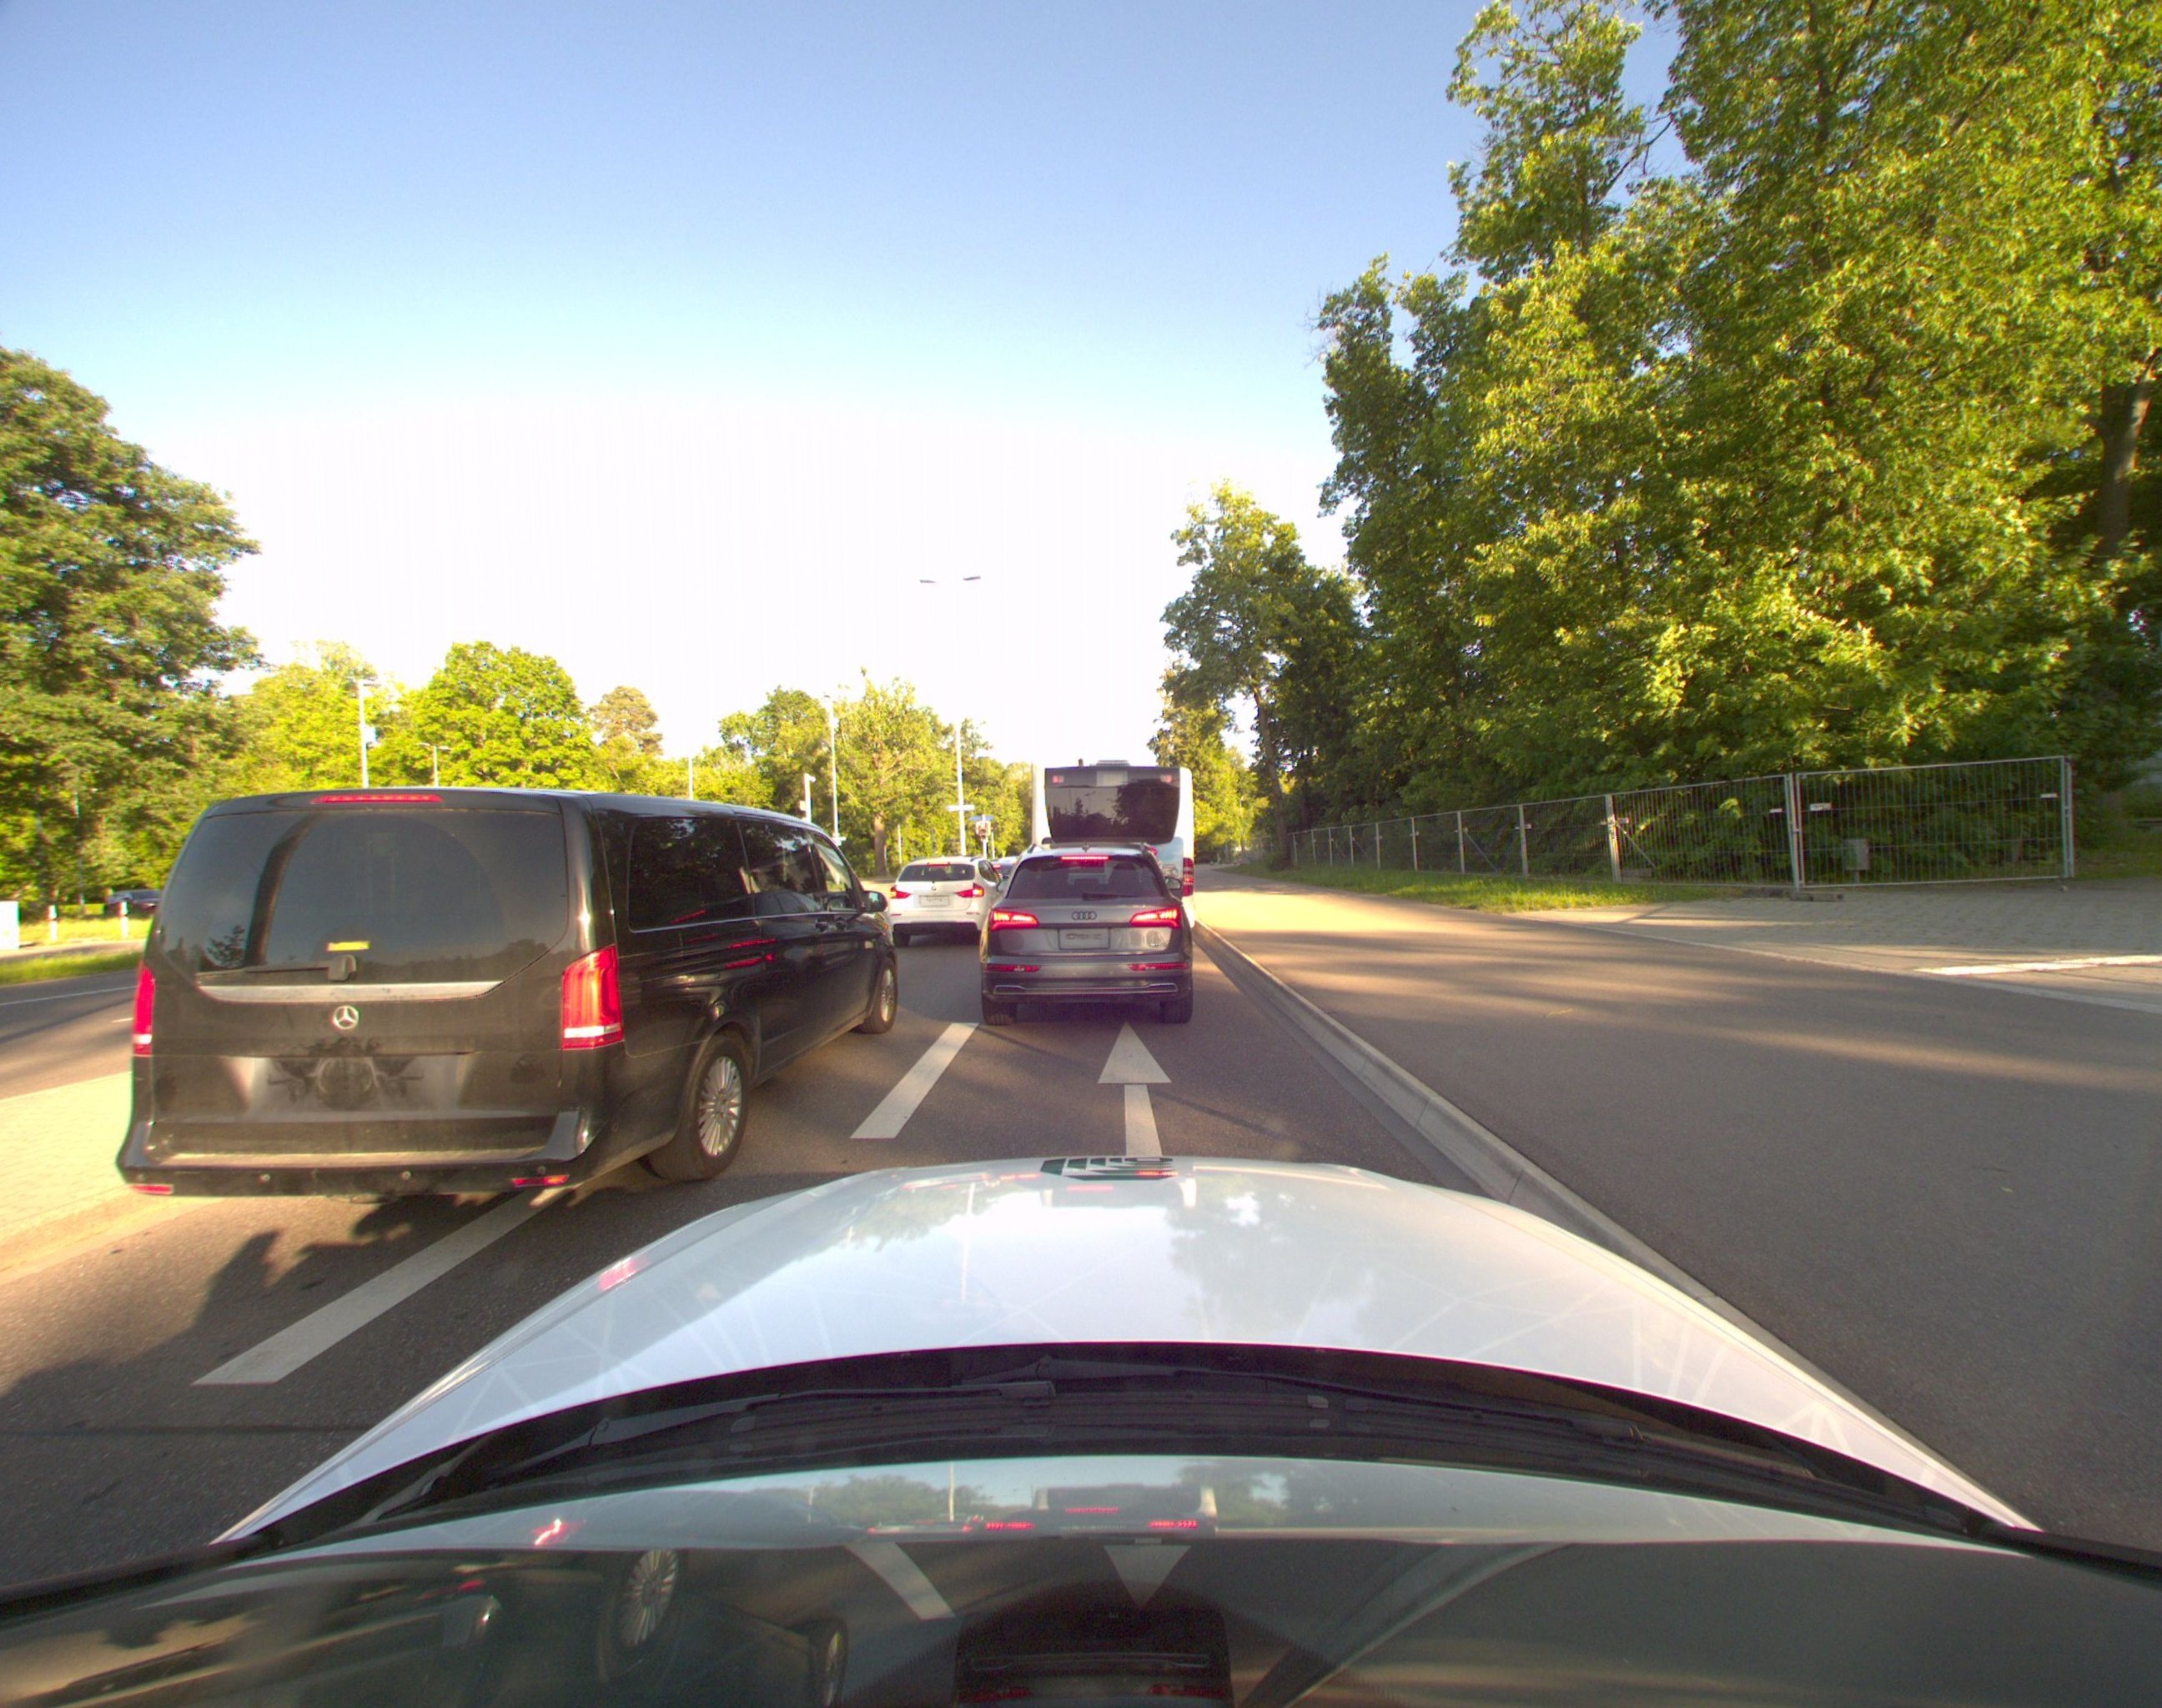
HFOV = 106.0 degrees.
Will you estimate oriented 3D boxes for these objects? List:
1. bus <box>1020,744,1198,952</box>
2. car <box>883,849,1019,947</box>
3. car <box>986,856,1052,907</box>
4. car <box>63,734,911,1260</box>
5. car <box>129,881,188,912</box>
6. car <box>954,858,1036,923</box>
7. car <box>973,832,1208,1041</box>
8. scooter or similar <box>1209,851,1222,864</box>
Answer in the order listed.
[{"bbox_3d":[0.578,-0.114,15.291,2.667,3.142,5.887,0,0,3],"label":"bus"},{"bbox_3d":[-2.276,0.754,15.364,1.712,1.581,4.435,0,-1,2],"label":"car"},{"bbox_3d":[-2.028,0.879,27.805,1.801,1.572,4.002,0,1,2],"label":"car"},{"bbox_3d":[-2.625,0.499,5.335,1.900,1.856,4.874,0,0,1],"label":"car"},{"bbox_3d":[-53.202,2.401,46.967,3.948,1.618,2.013,-1,-1,38],"label":"car"},{"bbox_3d":[-2.144,0.871,21.407,1.780,1.444,4.276,0,1,-1],"label":"car"},{"bbox_3d":[0.141,0.640,8.502,1.861,1.663,4.002,0,1,2],"label":"car"},{"bbox_3d":[12.807,0.321,77.813,1.175,1.174,0.661,0,0,13],"label":"scooter or similar"}]
